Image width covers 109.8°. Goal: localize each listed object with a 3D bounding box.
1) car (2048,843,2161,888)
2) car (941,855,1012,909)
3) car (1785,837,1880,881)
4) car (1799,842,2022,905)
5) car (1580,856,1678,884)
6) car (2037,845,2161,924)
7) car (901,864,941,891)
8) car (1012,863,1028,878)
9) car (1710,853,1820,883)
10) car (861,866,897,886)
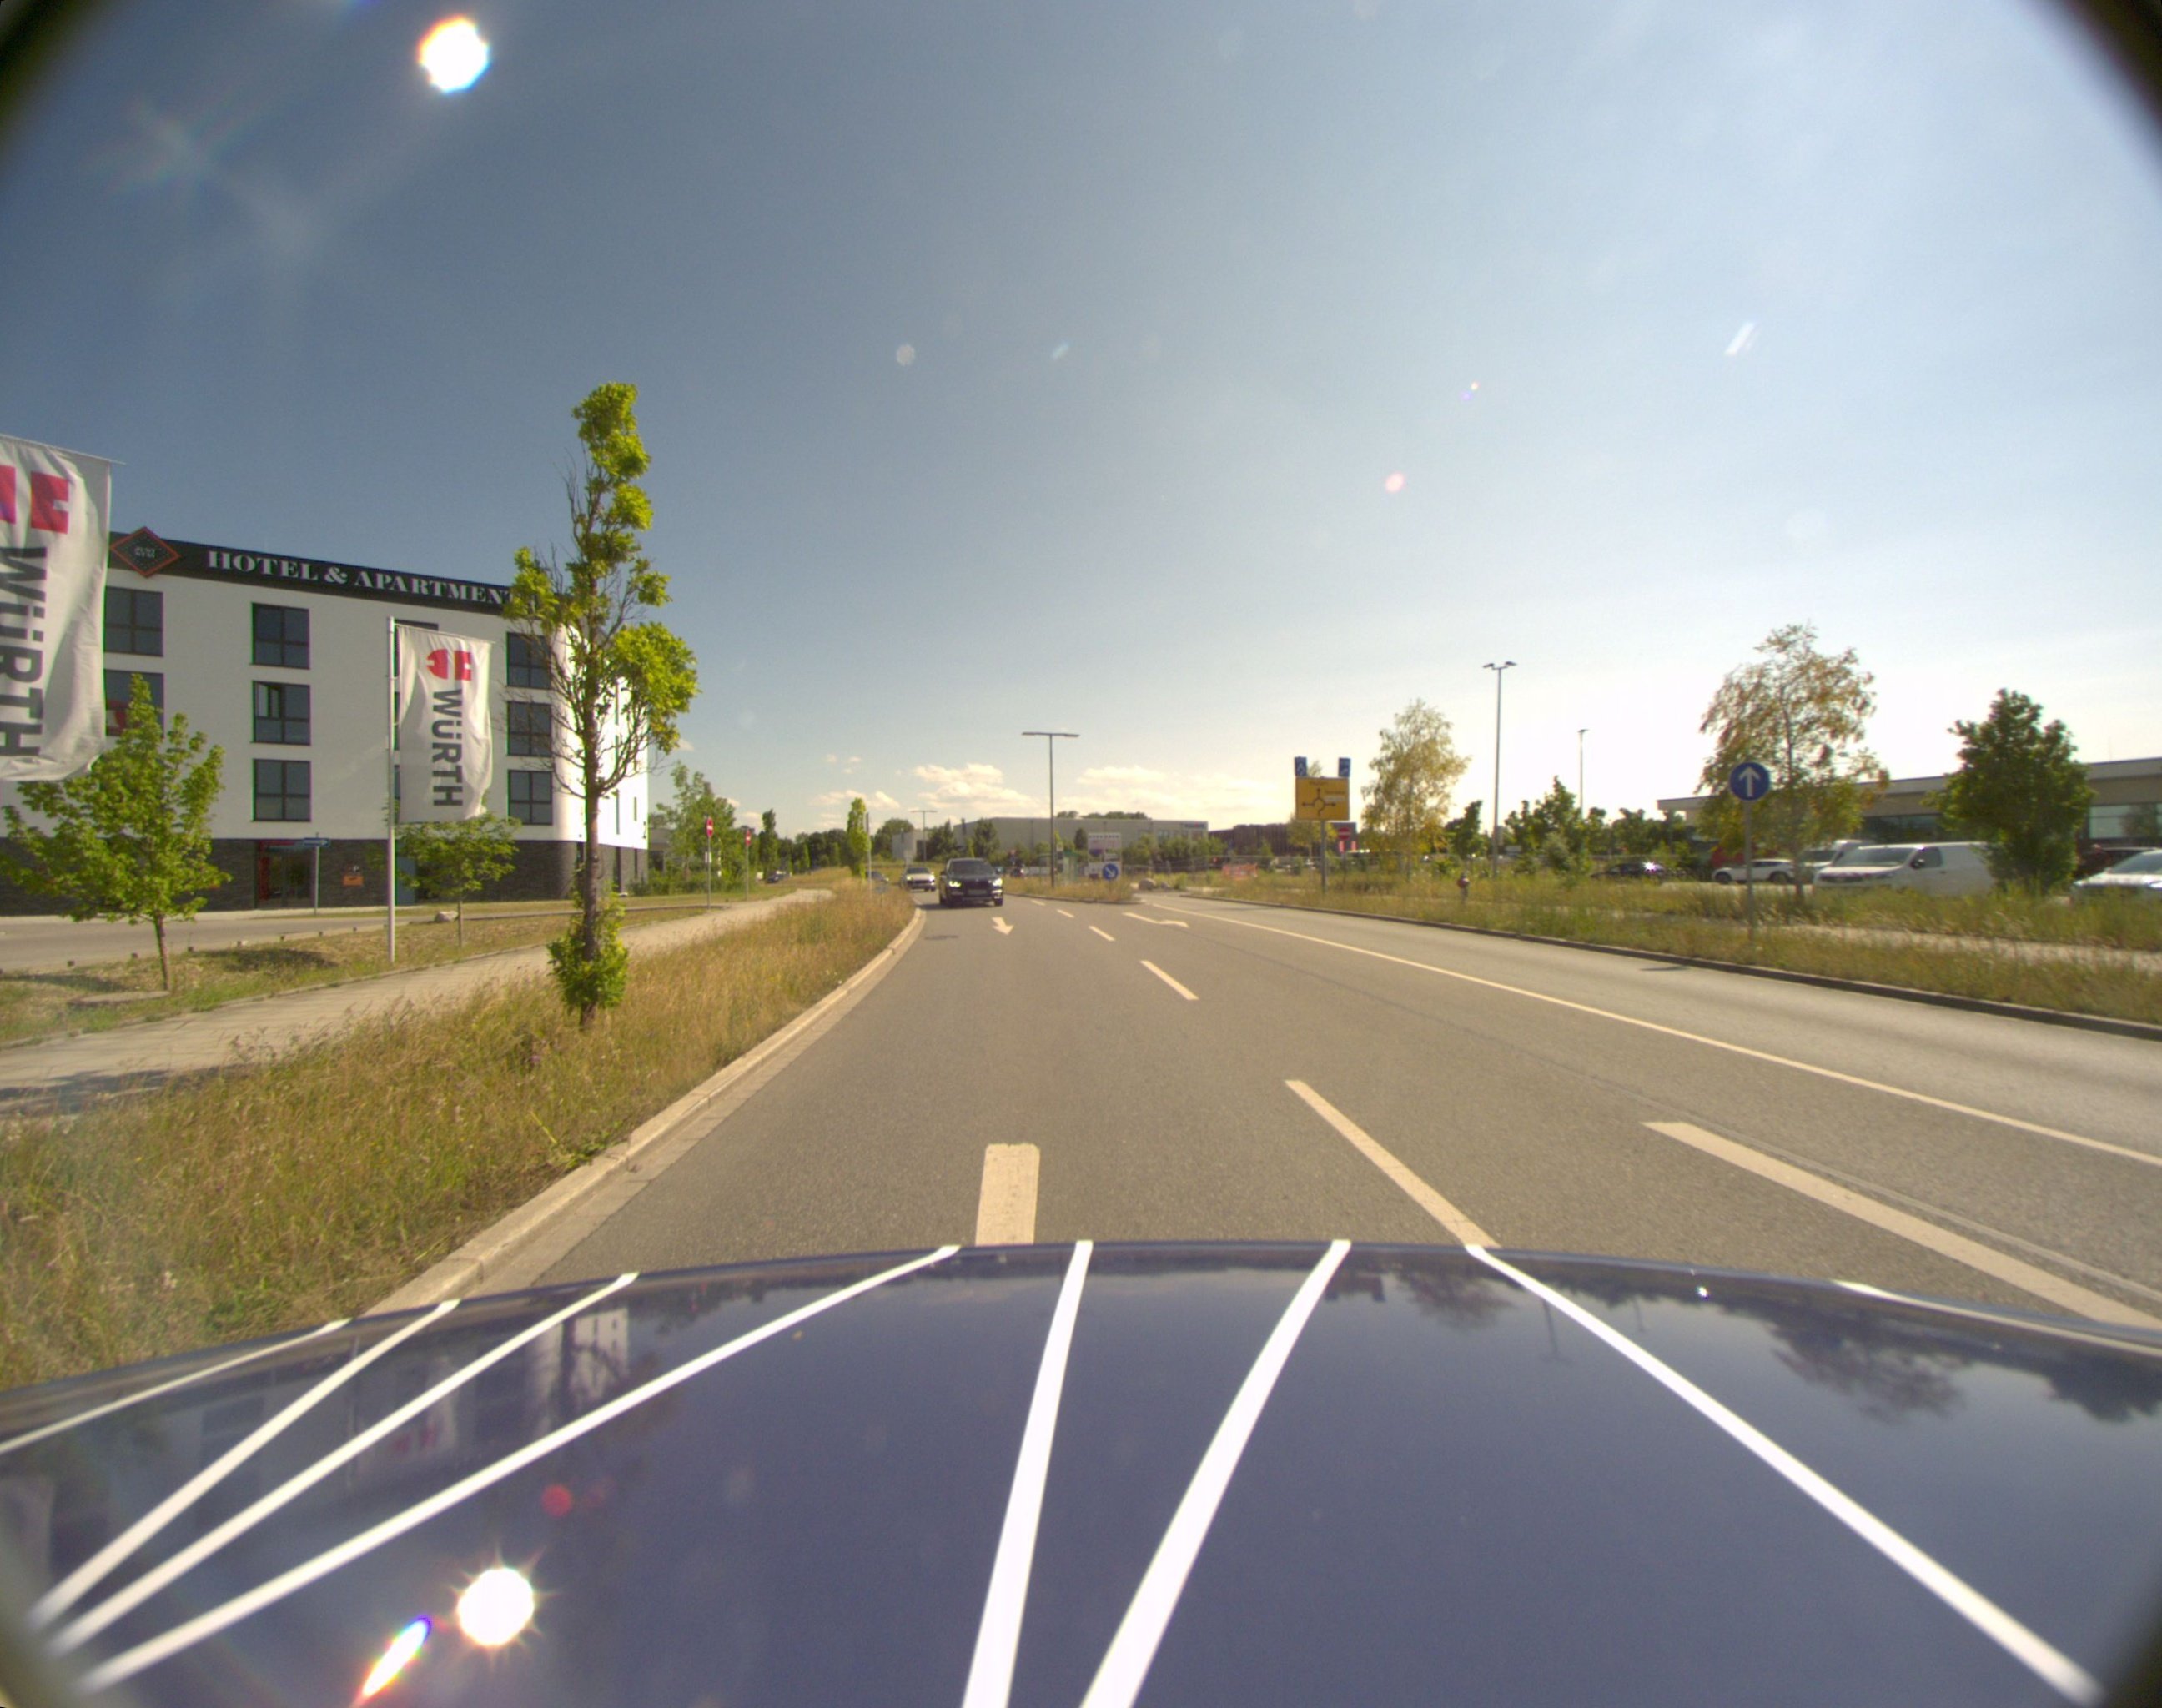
[{"bbox_3d":[38.186,0.397,28.006,4.003,1.543,1.841,-1,0,-17],"label":"car"},{"bbox_3d":[-3.760,0.972,26.634,1.903,1.669,4.462,-1,-2,-15],"label":"car"},{"bbox_3d":[46.065,0.293,46.570,5.724,2.572,1.937,-1,0,-20],"label":"car"},{"bbox_3d":[24.011,0.522,22.052,5.198,1.662,1.998,-1,0,-12],"label":"car"},{"bbox_3d":[34.363,0.974,47.768,2.285,1.678,4.411,-1,0,-24],"label":"car"},{"bbox_3d":[24.716,0.617,16.994,4.603,1.662,1.999,-1,0,-6],"label":"car"},{"bbox_3d":[-10.760,1.571,50.816,2.117,1.633,4.772,-1,-2,-17],"label":"car"},{"bbox_3d":[-7.147,1.920,89.566,1.757,1.597,4.521,-1,0,-3],"label":"car"},{"bbox_3d":[41.318,0.812,46.026,1.978,1.678,4.567,-1,0,-24],"label":"car"},{"bbox_3d":[-18.463,1.979,69.307,1.761,1.677,4.370,-1,0,-34],"label":"car"}]
